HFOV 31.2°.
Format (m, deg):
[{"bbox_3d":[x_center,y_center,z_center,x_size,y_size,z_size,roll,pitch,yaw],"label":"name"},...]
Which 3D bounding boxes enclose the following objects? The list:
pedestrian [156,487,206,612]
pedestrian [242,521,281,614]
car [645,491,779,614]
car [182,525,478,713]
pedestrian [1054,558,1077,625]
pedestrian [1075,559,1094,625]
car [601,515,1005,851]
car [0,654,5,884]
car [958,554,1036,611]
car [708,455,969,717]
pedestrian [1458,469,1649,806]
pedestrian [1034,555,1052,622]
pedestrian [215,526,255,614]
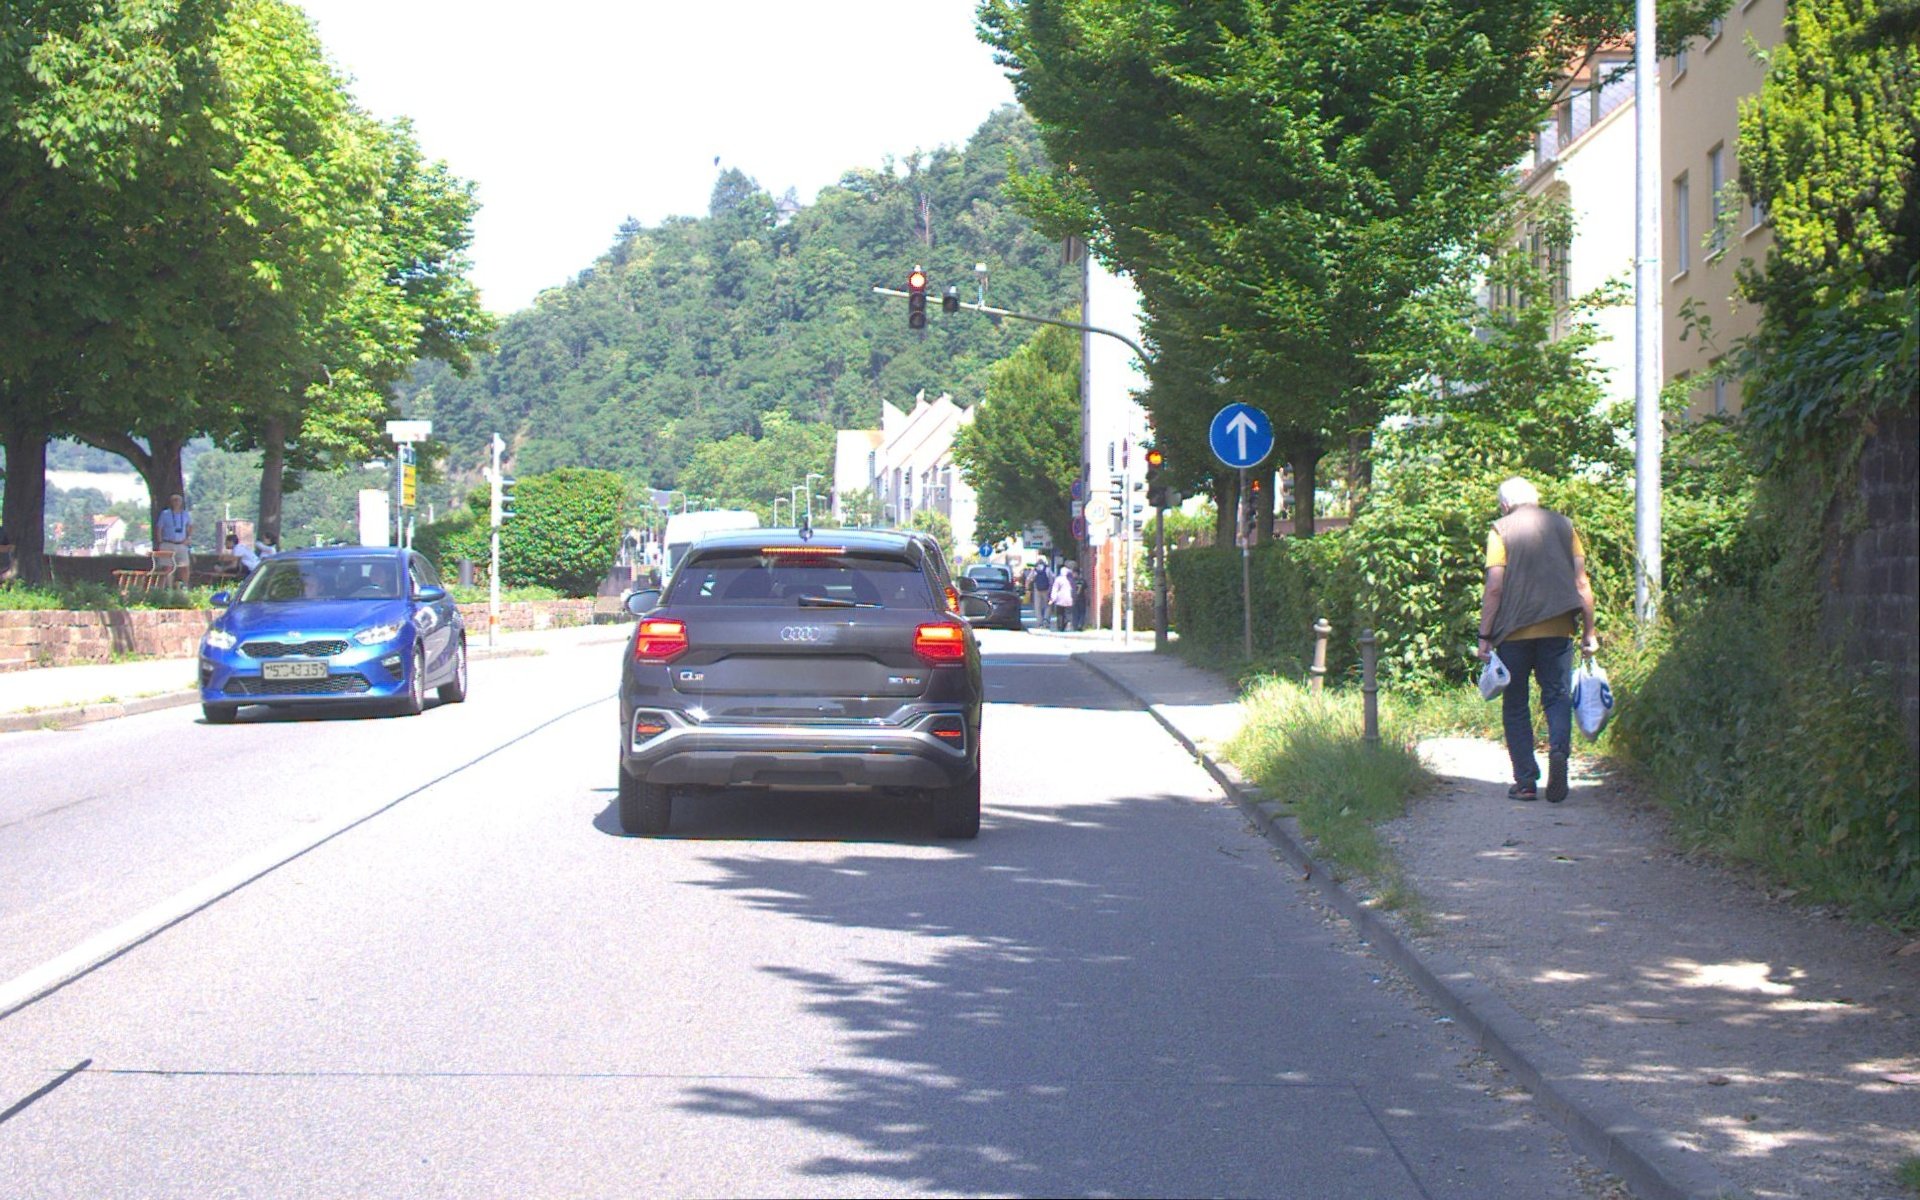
[{"bbox_3d":[-12.767,-0.821,56.375,0.640,2.007,0.730,-1,-1,-1],"label":"pedestrian"},{"bbox_3d":[-12.655,-0.591,62.310,0.558,1.663,0.540,-1,-1,3],"label":"pedestrian"},{"bbox_3d":[-5.253,-0.978,73.672,2.494,2.458,5.620,-1,-1,-1],"label":"car"},{"bbox_3d":[-5.365,0.161,29.718,1.899,1.484,3.796,-1,0,-1],"label":"car"},{"bbox_3d":[2.475,-0.197,80.916,0.489,1.554,0.461,-1,-1,-1],"label":"pedestrian"},{"bbox_3d":[2.979,-0.194,82.147,0.413,1.554,0.395,-1,-1,-1],"label":"pedestrian"},{"bbox_3d":[-0.762,0.338,18.032,1.857,1.518,4.001,1,2,-1],"label":"car"},{"bbox_3d":[-4.901,0.115,11.092,2.096,2.294,5.869,-1,2,-1],"label":"car"},{"bbox_3d":[0.969,-0.450,92.771,1.993,1.448,4.009,-1,-1,-1],"label":"car"},{"bbox_3d":[-0.956,-0.142,28.759,1.993,2.007,4.000,-1,1,0],"label":"car"},{"bbox_3d":[3.028,0.182,17.610,0.728,1.644,0.882,-3,1,-1],"label":"pedestrian"},{"bbox_3d":[2.120,-0.291,88.183,0.413,1.710,0.403,-1,-1,-1],"label":"pedestrian"},{"bbox_3d":[-12.983,-0.538,61.582,0.558,1.554,0.540,-1,-1,3],"label":"pedestrian"}]
